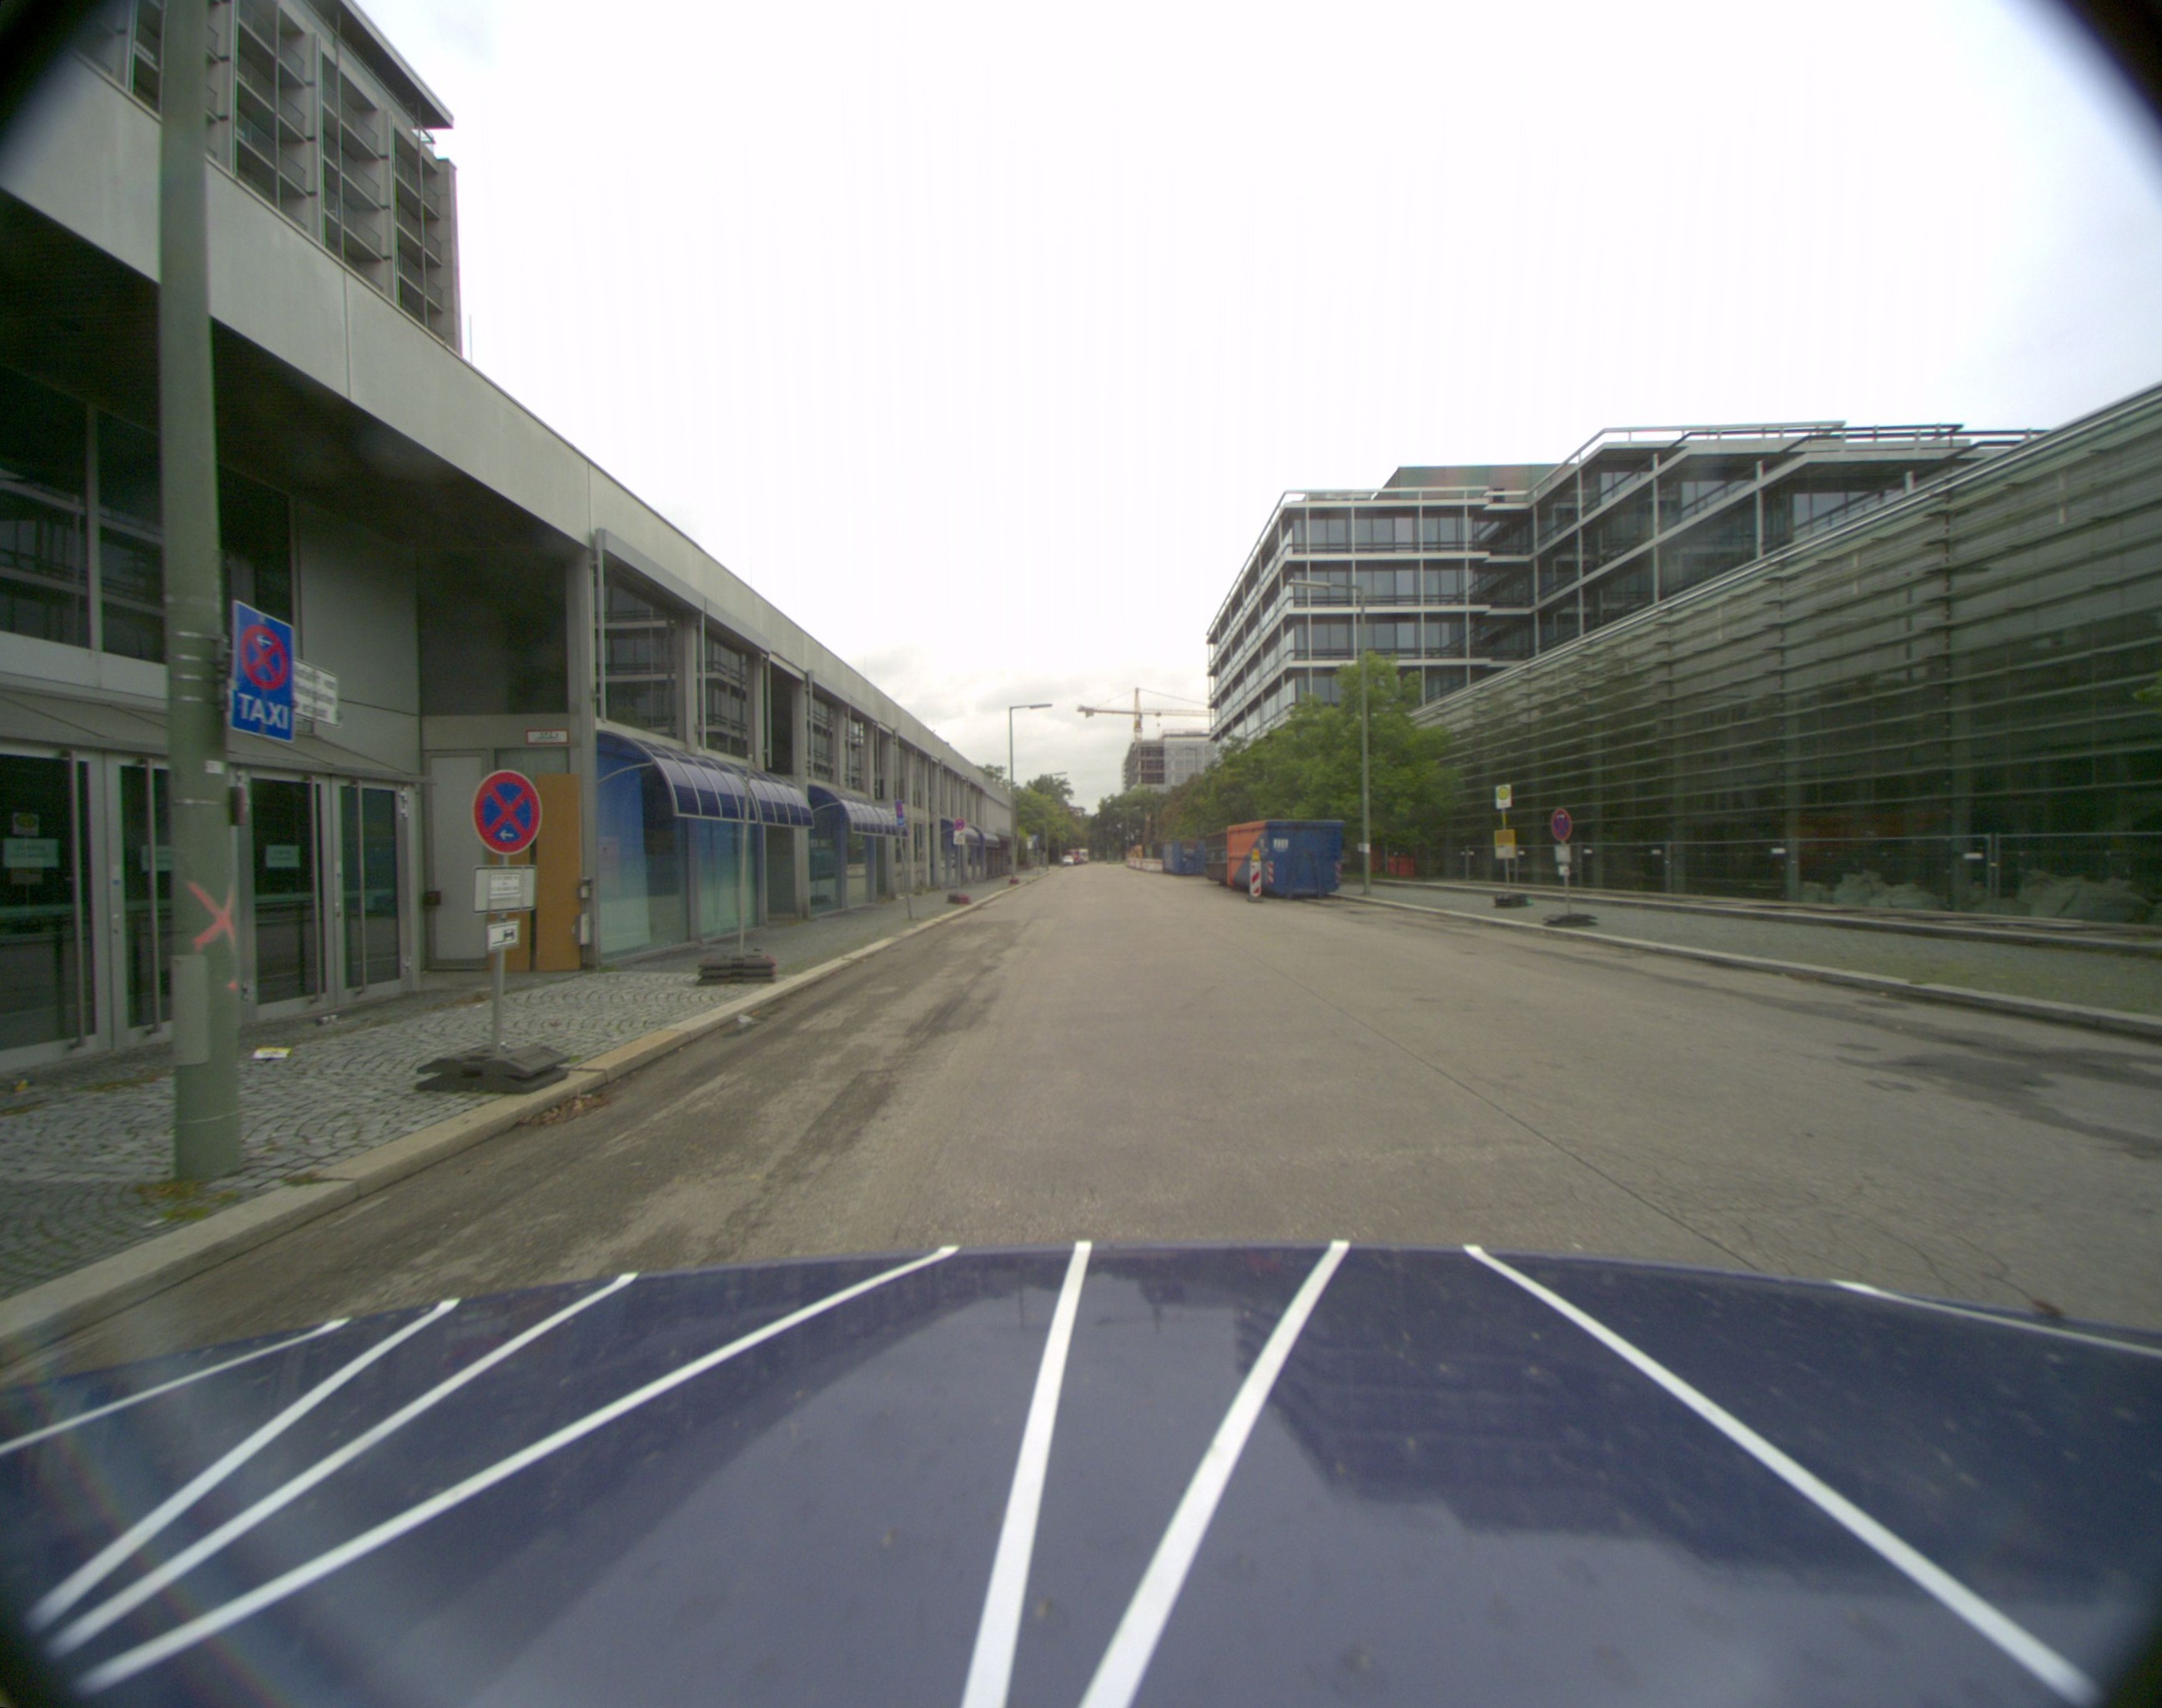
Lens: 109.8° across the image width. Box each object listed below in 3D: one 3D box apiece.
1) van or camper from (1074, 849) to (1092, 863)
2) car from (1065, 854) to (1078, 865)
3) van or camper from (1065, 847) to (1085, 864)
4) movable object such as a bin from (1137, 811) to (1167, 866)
[{"bbox_3d":[0.407,0.323,137.884,2.665,2.436,6.448,-1,0,7],"label":"van or camper"},{"bbox_3d":[-1.447,0.849,117.326,1.912,1.627,4.000,-1,0,2],"label":"car"},{"bbox_3d":[-0.983,0.259,123.594,2.666,2.751,6.917,-1,0,4],"label":"van or camper"},{"bbox_3d":[8.447,-1.765,91.217,3.241,6.285,8.337,-1,0,3],"label":"movable object such as a bin"}]
